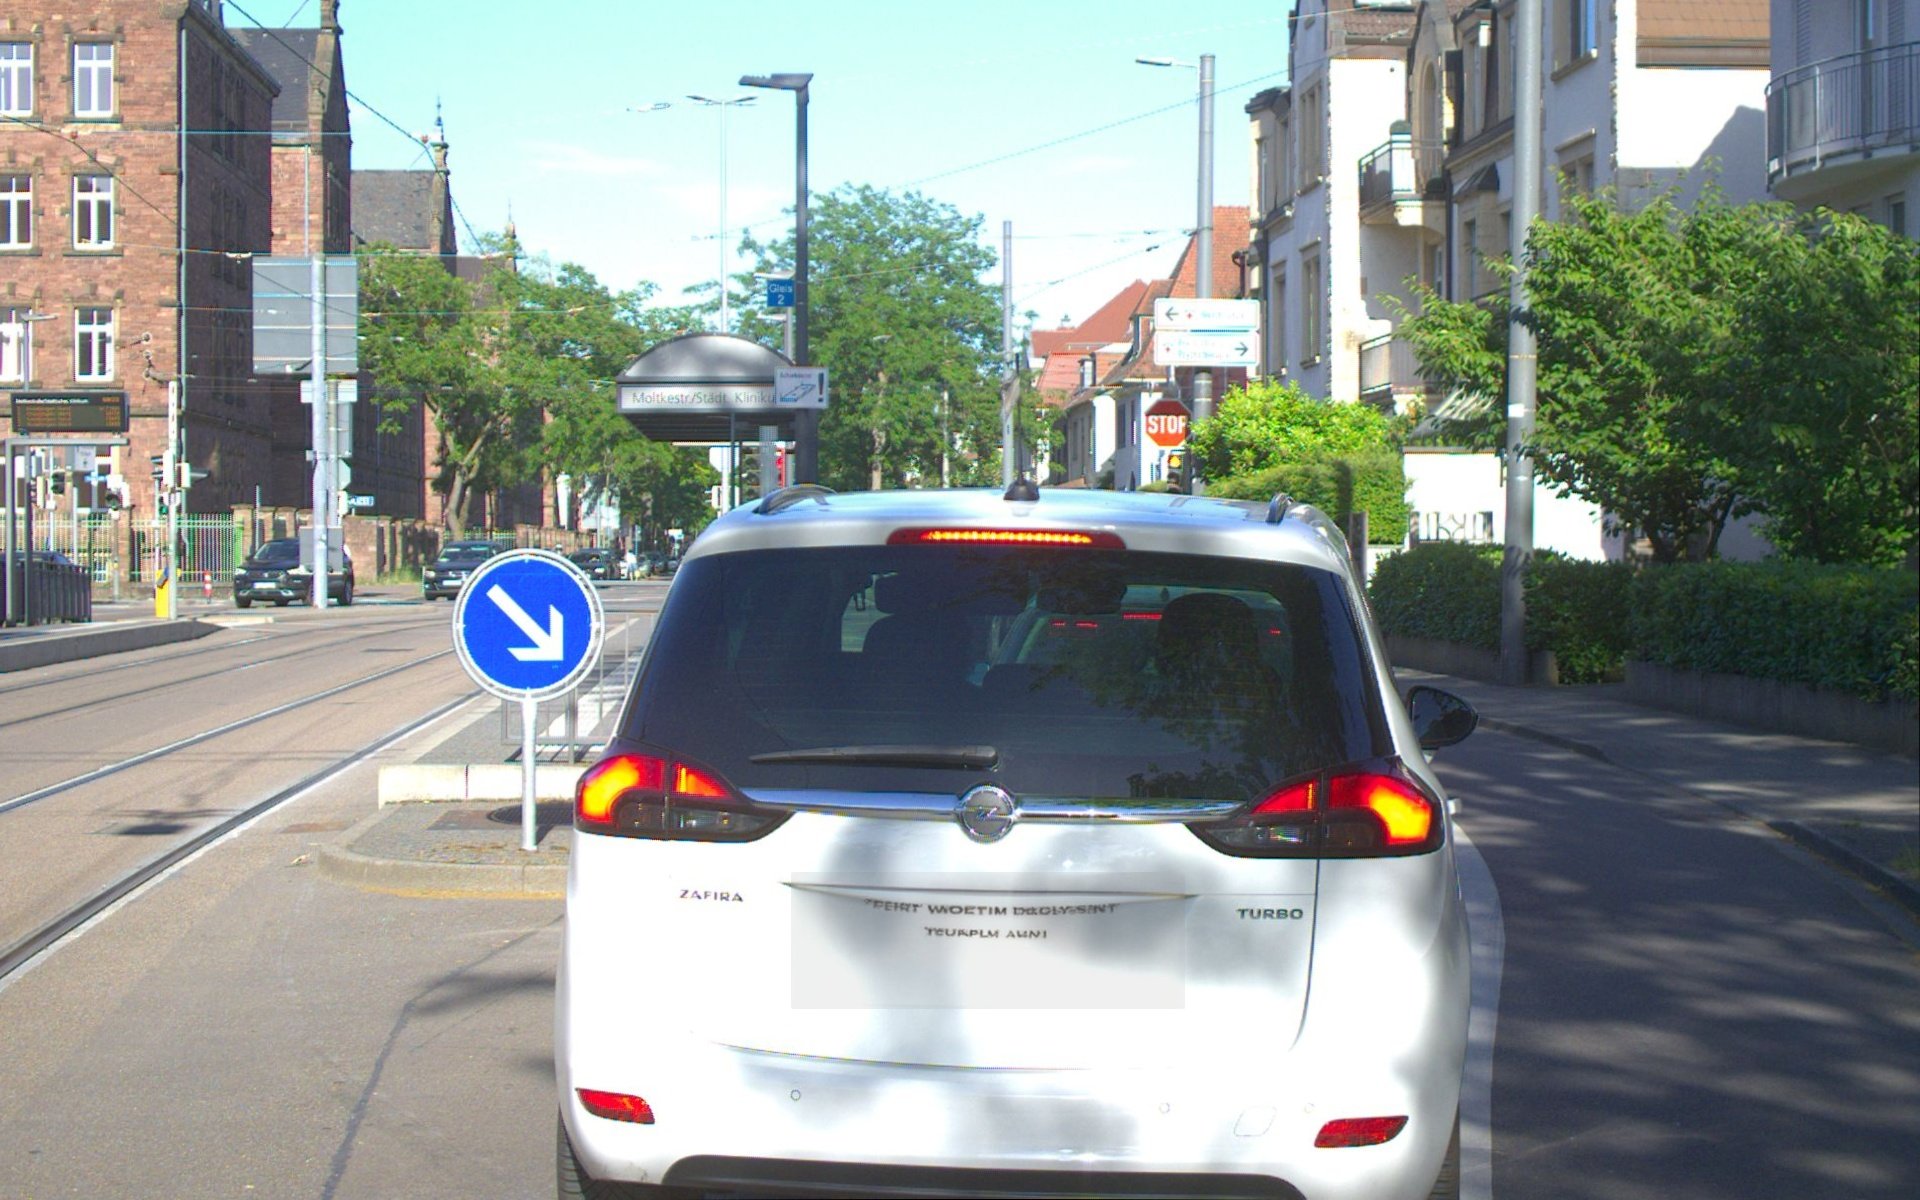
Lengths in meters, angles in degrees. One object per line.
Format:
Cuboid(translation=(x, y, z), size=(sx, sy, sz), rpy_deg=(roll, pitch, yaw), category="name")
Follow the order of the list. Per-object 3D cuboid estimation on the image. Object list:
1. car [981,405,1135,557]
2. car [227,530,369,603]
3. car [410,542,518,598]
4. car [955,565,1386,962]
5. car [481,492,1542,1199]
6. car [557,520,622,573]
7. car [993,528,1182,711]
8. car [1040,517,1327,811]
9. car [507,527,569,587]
Cuboid(translation=(1.101, -1.395, 40.188), size=(1.596, 1.629, 3.902), rpy_deg=(2, 2, -1), category="car")
Cuboid(translation=(-15.199, -0.760, 79.171), size=(1.827, 1.611, 4.326), rpy_deg=(1, 0, 9), category="car")
Cuboid(translation=(-13.276, -0.784, 92.258), size=(1.827, 1.441, 4.326), rpy_deg=(1, 0, 6), category="car")
Cuboid(translation=(0.950, 0.592, 14.778), size=(1.569, 1.396, 3.783), rpy_deg=(2, 1, 5), category="car")
Cuboid(translation=(0.251, 0.563, 8.080), size=(1.878, 1.579, 3.999), rpy_deg=(0, 1, 5), category="car")
Cuboid(translation=(-14.161, -2.050, 131.502), size=(1.993, 2.007, 4.000), rpy_deg=(0, 1, 1), category="car")
Cuboid(translation=(1.197, 0.141, 33.670), size=(1.596, 1.629, 3.901), rpy_deg=(2, 1, -1), category="car")
Cuboid(translation=(1.379, 0.323, 21.364), size=(1.569, 1.609, 3.784), rpy_deg=(2, 1, 4), category="car")
Cuboid(translation=(-13.113, -1.320, 107.043), size=(1.826, 1.782, 4.328), rpy_deg=(0, 0, -6), category="car")
